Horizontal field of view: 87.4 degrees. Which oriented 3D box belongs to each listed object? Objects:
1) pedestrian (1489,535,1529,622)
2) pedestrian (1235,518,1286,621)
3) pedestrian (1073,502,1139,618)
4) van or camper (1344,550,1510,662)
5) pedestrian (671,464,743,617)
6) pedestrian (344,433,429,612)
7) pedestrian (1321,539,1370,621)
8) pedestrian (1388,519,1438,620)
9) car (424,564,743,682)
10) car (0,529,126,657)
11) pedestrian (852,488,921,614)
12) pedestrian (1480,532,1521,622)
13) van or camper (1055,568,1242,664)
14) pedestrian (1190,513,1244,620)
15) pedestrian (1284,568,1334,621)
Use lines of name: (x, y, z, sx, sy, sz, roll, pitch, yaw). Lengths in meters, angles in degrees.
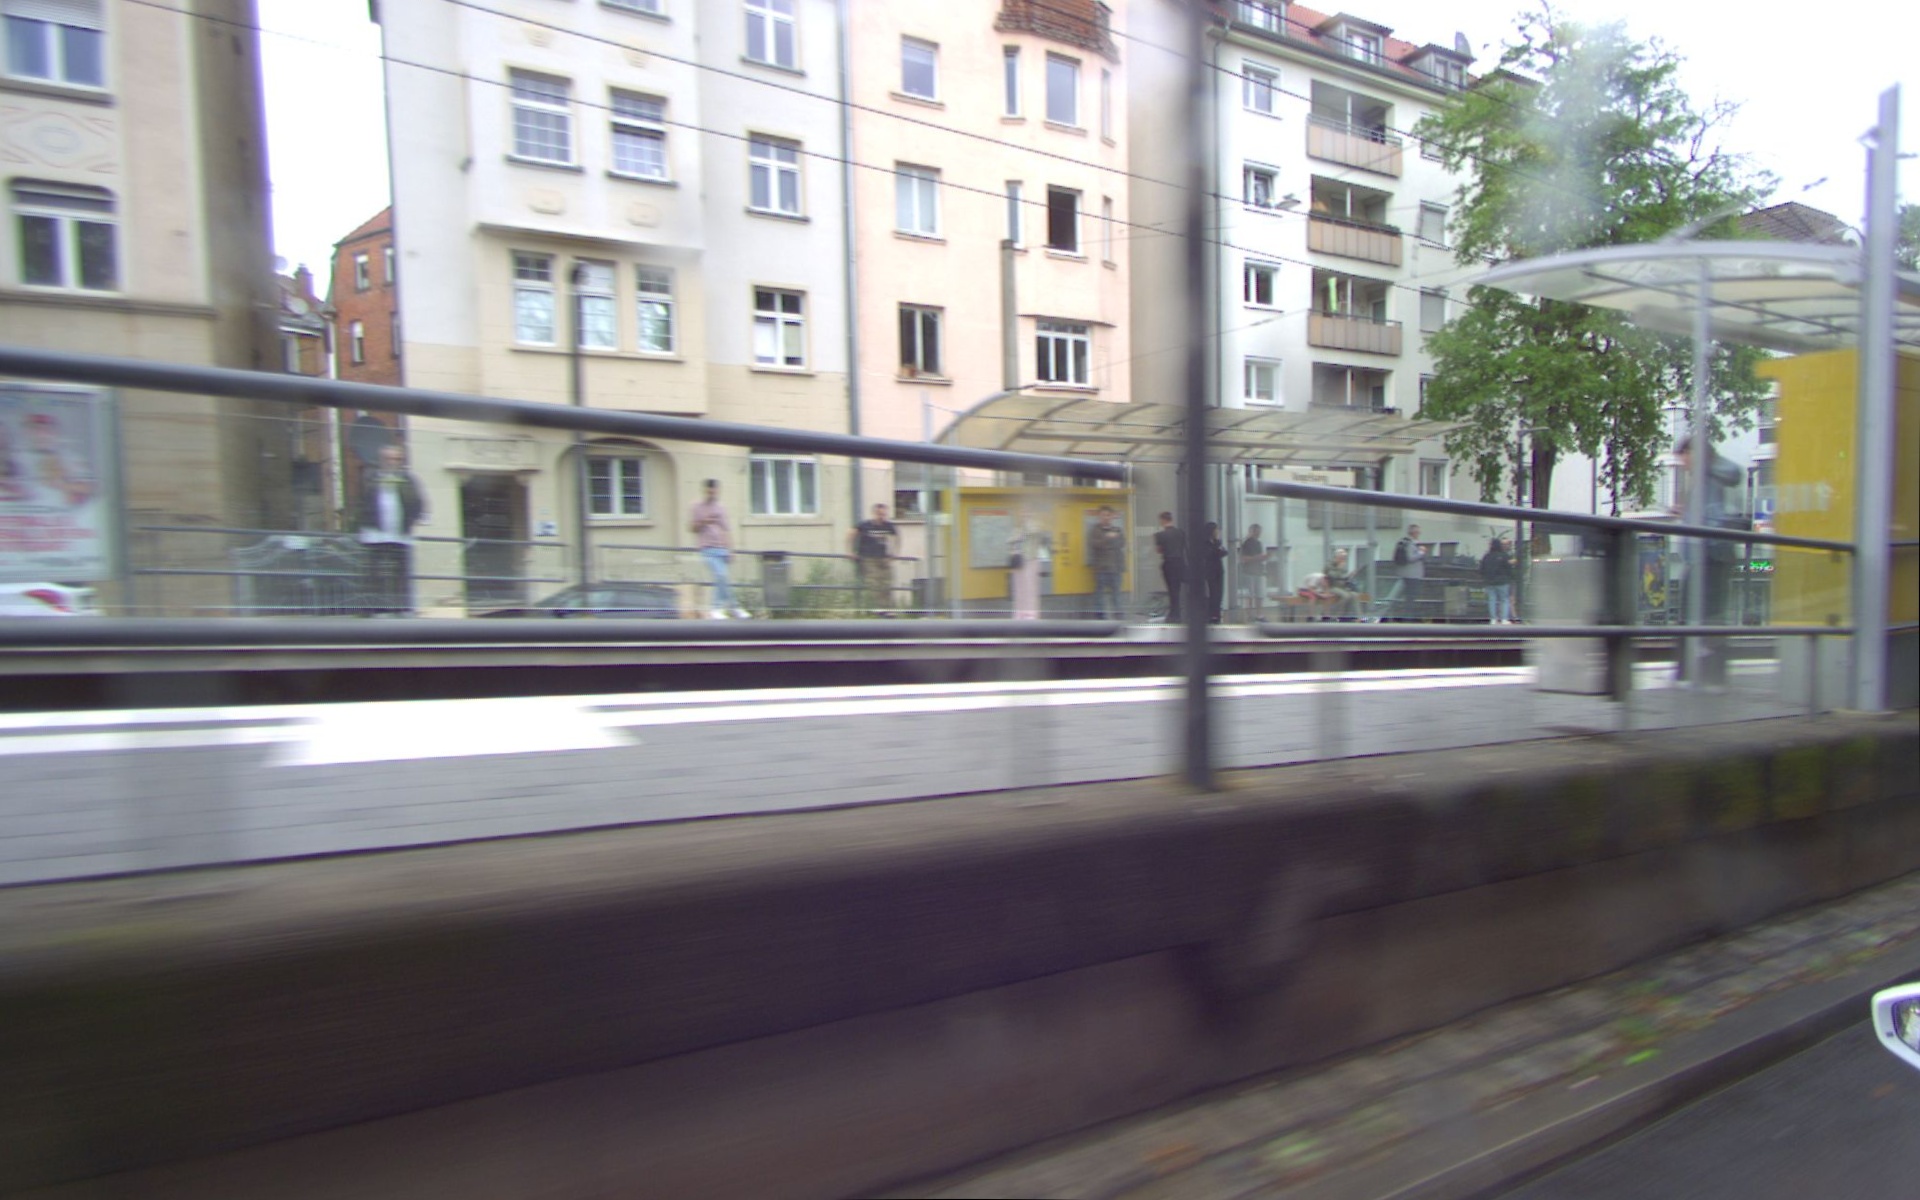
pedestrian: (11.327, -0.440, 20.729, 0.557, 1.764, 0.480, 1, 0, -30)
pedestrian: (5.081, -0.496, 16.970, 0.607, 1.688, 0.547, 1, 0, -30)
pedestrian: (2.190, -0.575, 15.100, 0.753, 1.688, 0.591, 1, 0, -30)
van or camper: (12.961, 0.148, 27.769, 4.814, 2.843, 1.981, 0, 1, -35)
pedestrian: (-3.198, -0.728, 12.681, 0.753, 1.862, 0.513, 1, 0, -30)
pedestrian: (-6.206, -0.807, 10.894, 0.753, 1.862, 0.513, 1, 0, -30)
pedestrian: (6.872, -0.344, 17.922, 0.607, 1.432, 0.547, 1, 0, -30)
pedestrian: (8.176, -0.533, 18.122, 0.607, 1.764, 0.547, 1, 0, -30)
car: (-6.260, 0.414, 16.879, 4.752, 1.755, 1.986, 2, 0, -27)
car: (-13.981, -0.110, 13.067, 4.478, 1.644, 1.915, 1, 0, -28)
pedestrian: (-1.024, -0.656, 13.928, 0.753, 1.688, 0.591, 1, 0, -30)
pedestrian: (10.910, -0.454, 20.277, 0.557, 1.764, 0.480, 1, 0, -30)
van or camper: (4.377, 0.336, 23.267, 3.953, 2.041, 1.984, 0, 1, -30)
pedestrian: (4.167, -0.522, 16.319, 0.584, 1.688, 0.591, 1, 0, -30)
pedestrian: (6.083, -0.090, 17.506, 0.607, 0.883, 0.547, 1, -1, -30)
